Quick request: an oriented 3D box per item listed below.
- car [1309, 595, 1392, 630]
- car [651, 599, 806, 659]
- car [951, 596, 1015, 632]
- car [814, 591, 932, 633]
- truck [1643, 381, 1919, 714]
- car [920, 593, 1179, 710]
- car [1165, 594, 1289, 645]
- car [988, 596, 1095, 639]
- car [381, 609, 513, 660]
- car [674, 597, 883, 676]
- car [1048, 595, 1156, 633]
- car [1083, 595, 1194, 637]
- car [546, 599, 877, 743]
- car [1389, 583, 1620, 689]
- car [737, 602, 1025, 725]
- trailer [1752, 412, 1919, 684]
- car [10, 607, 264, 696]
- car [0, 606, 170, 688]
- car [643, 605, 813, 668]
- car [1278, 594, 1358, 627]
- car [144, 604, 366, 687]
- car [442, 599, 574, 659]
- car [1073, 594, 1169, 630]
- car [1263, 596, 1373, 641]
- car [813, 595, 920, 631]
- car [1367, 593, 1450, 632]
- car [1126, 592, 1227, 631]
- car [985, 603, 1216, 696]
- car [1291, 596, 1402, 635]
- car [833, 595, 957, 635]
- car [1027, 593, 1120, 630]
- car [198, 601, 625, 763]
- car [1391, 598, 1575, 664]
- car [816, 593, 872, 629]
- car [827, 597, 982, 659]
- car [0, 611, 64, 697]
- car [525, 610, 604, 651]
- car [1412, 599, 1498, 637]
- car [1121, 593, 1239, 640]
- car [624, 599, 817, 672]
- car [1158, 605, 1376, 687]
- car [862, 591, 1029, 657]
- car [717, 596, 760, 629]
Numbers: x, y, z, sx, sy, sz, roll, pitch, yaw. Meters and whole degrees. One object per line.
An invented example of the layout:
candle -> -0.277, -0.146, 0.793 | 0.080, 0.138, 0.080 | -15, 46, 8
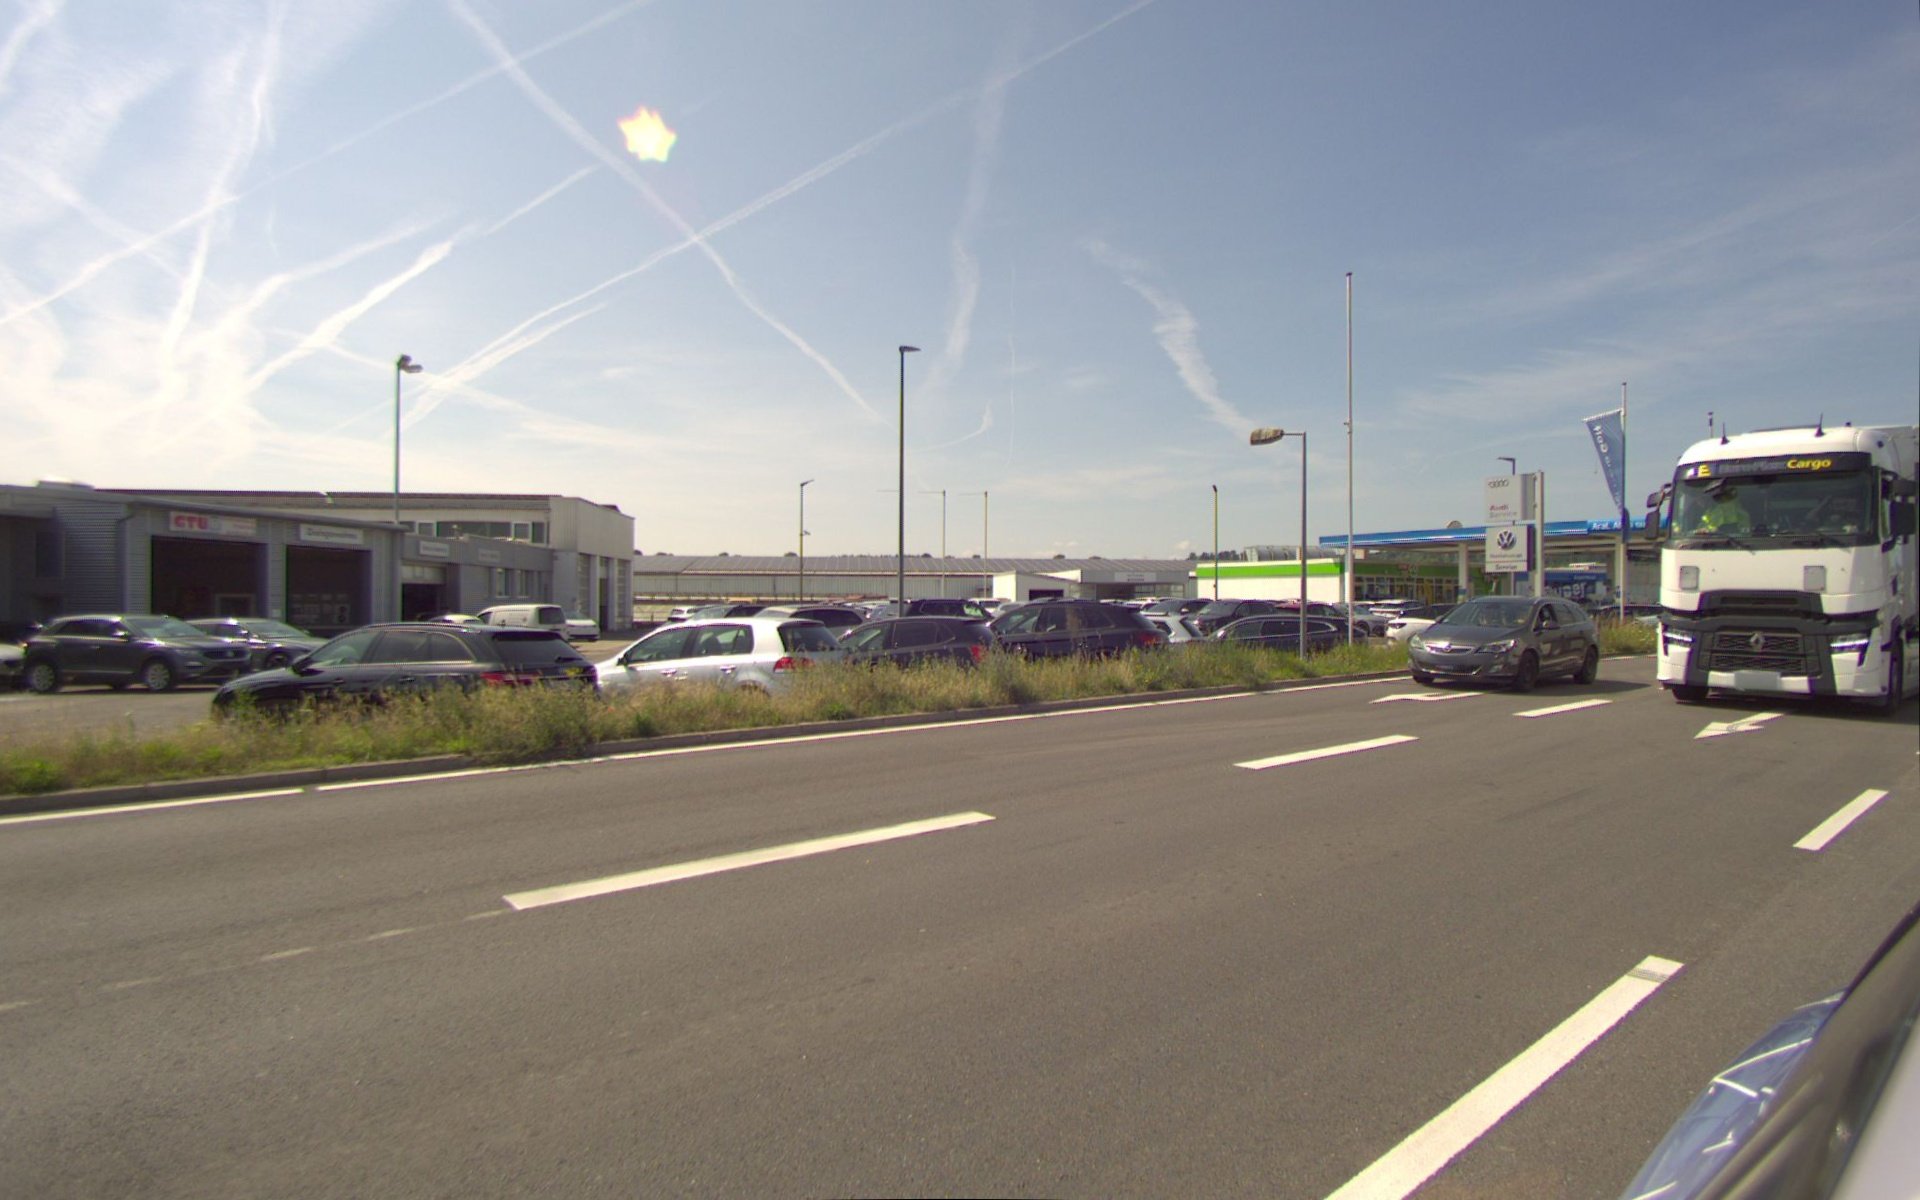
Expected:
car -> 19.250, 0.589, 49.845 | 4.157, 1.600, 1.776 | 0, 1, -35
car -> -7.310, 0.859, 32.141 | 4.452, 1.751, 1.823 | 0, 1, -35
car -> 1.168, 0.707, 54.047 | 2.025, 1.750, 4.548 | 1, 1, -17
car -> -3.538, 0.480, 41.181 | 4.442, 1.603, 1.827 | 1, 1, -19
truck -> 12.857, -0.659, 15.216 | 5.933, 4.037, 2.647 | 0, 1, -39
car -> 1.492, 0.766, 16.568 | 3.946, 1.675, 1.766 | 1, 1, 17
car -> 9.433, 0.638, 35.652 | 4.452, 1.675, 1.776 | 0, 1, -35
car -> 3.048, 0.614, 38.959 | 1.910, 1.477, 4.544 | 0, 1, -29
car -> -17.317, 1.122, 34.195 | 4.028, 1.510, 1.763 | 1, 1, 22
car -> -4.228, 0.788, 24.122 | 4.633, 1.675, 1.904 | 0, 1, -45
car -> 5.948, 0.554, 42.246 | 4.452, 1.459, 1.776 | 0, 1, -35
car -> 7.128, 0.601, 40.213 | 4.452, 1.545, 1.691 | 0, 1, -35
car -> -3.235, 0.815, 13.198 | 3.953, 1.578, 1.700 | 1, 1, 22
car -> 9.222, 0.519, 16.997 | 4.371, 1.538, 1.997 | 0, 1, -41
car -> -1.125, 0.868, 15.125 | 3.941, 1.572, 1.768 | 1, 1, 14
trailer -> 18.930, -0.831, 20.103 | 11.088, 4.281, 2.613 | 0, 1, -39
car -> -16.585, 0.999, 20.481 | 4.008, 1.629, 1.690 | 1, -1, 8
car -> -20.795, 1.035, 23.190 | 4.096, 1.675, 1.774 | 1, 1, 4
car -> -6.683, 0.991, 29.352 | 4.452, 1.675, 1.776 | 0, 1, -36
car -> 18.482, 0.542, 52.197 | 4.242, 1.600, 1.722 | 0, 1, -35
car -> -15.921, 0.986, 22.941 | 4.009, 1.675, 1.772 | 1, 1, 9
car -> -16.451, 1.006, 36.829 | 4.484, 1.973, 1.763 | 1, 1, 22
car -> 7.986, 0.583, 50.155 | 4.444, 1.675, 1.779 | 0, 1, -25
car -> 13.868, 0.674, 39.092 | 4.452, 1.600, 1.776 | 0, 1, -35
car -> -4.161, 0.578, 45.126 | 4.442, 1.493, 1.827 | 1, 1, -19
car -> 21.241, 0.579, 47.899 | 4.179, 1.734, 1.714 | 0, 1, -35
car -> 9.764, 0.493, 45.559 | 4.448, 1.675, 1.777 | 0, 1, -32
car -> 2.623, 0.846, 18.901 | 3.957, 1.476, 1.761 | 1, 1, 25
car -> 17.456, 0.648, 45.920 | 1.741, 1.600, 4.540 | 0, 1, -33
car -> -2.512, 0.570, 38.856 | 4.390, 1.449, 1.827 | 1, 1, -19
car -> 5.066, 0.499, 44.863 | 4.051, 1.551, 1.609 | 0, 1, -35
car -> -6.124, 0.802, 11.372 | 4.285, 1.470, 1.766 | 1, 1, 18
car -> 14.704, 0.817, 28.743 | 4.488, 1.675, 1.762 | 1, 1, 24
car -> -5.925, 0.533, 51.368 | 2.025, 1.675, 4.548 | 1, 1, -17
car -> -1.610, 0.779, 30.072 | 4.351, 1.675, 1.775 | 0, 1, -38
car -> -21.447, 1.065, 20.914 | 4.468, 1.675, 1.774 | 1, 1, 4
car -> -18.640, 1.386, 47.590 | 3.900, 1.751, 1.953 | 2, 1, 43
car -> 22.464, 0.778, 45.851 | 4.069, 1.600, 1.776 | 0, 1, -35
car -> 8.283, 0.586, 37.986 | 4.452, 1.675, 1.776 | 0, 1, -35
car -> -6.060, 0.822, 25.958 | 4.463, 1.675, 1.965 | 0, 1, -45
car -> 6.801, 0.961, 22.620 | 4.479, 1.600, 1.765 | 1, 1, 19
car -> -0.350, 0.612, 28.147 | 4.454, 1.675, 1.775 | 0, 1, -38
car -> -14.169, 0.756, 64.991 | 2.167, 1.955, 4.164 | 1, 1, -4
